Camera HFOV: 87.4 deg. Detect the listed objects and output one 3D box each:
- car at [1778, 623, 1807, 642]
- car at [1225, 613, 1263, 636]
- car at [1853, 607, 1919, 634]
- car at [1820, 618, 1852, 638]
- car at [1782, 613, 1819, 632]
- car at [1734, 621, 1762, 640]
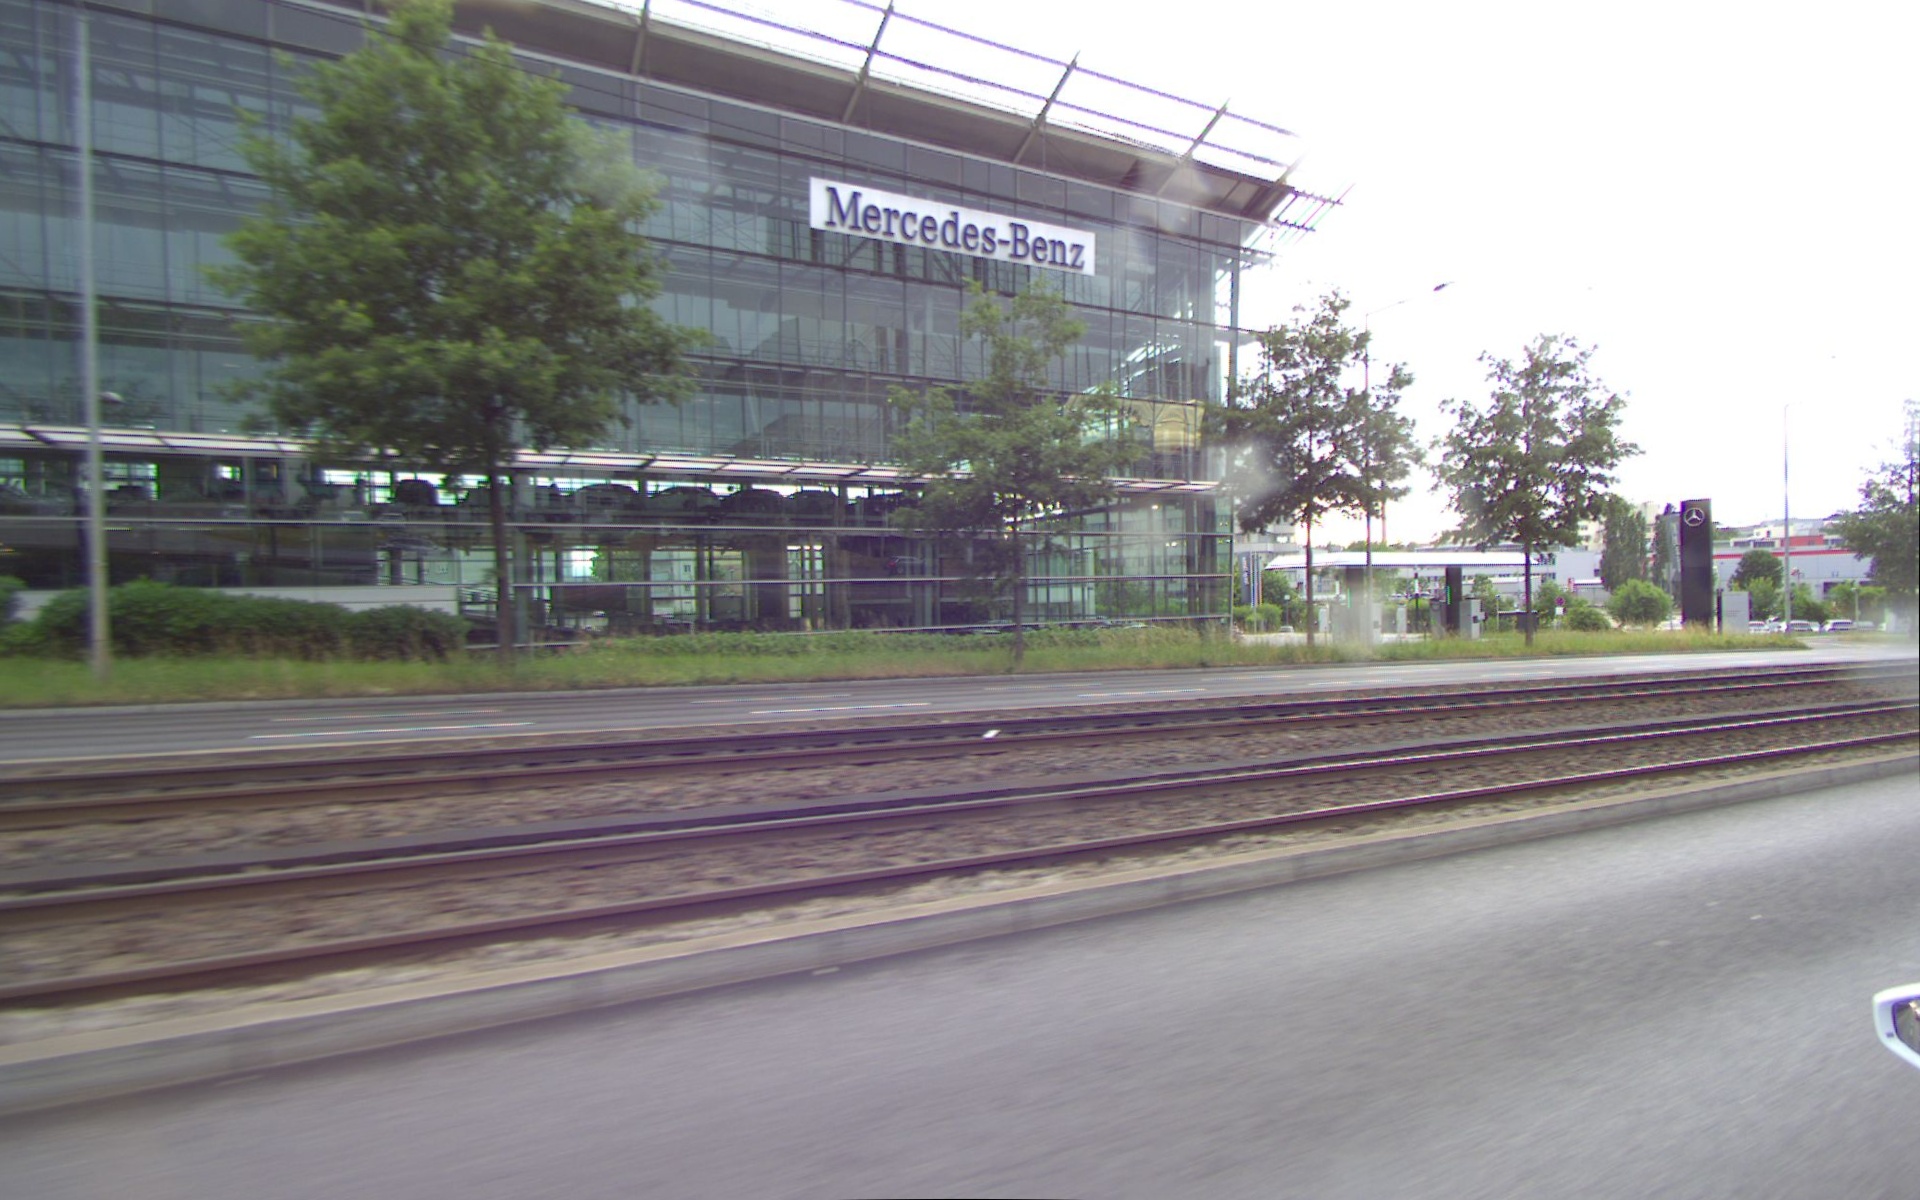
[{"bbox_3d":[68.671,2.670,82.906,1.730,1.514,3.983,3,0,38],"label":"car"},{"bbox_3d":[23.687,2.021,83.675,1.965,1.751,3.990,3,0,32],"label":"car"},{"bbox_3d":[62.538,1.392,67.816,3.946,1.672,1.987,2,0,-25],"label":"car"},{"bbox_3d":[70.535,2.261,80.912,1.730,1.514,3.983,3,0,38],"label":"car"},{"bbox_3d":[76.268,2.042,91.188,1.965,1.530,3.991,3,0,31],"label":"car"},{"bbox_3d":[66.488,2.559,84.748,1.730,1.514,3.983,3,0,38],"label":"car"}]
